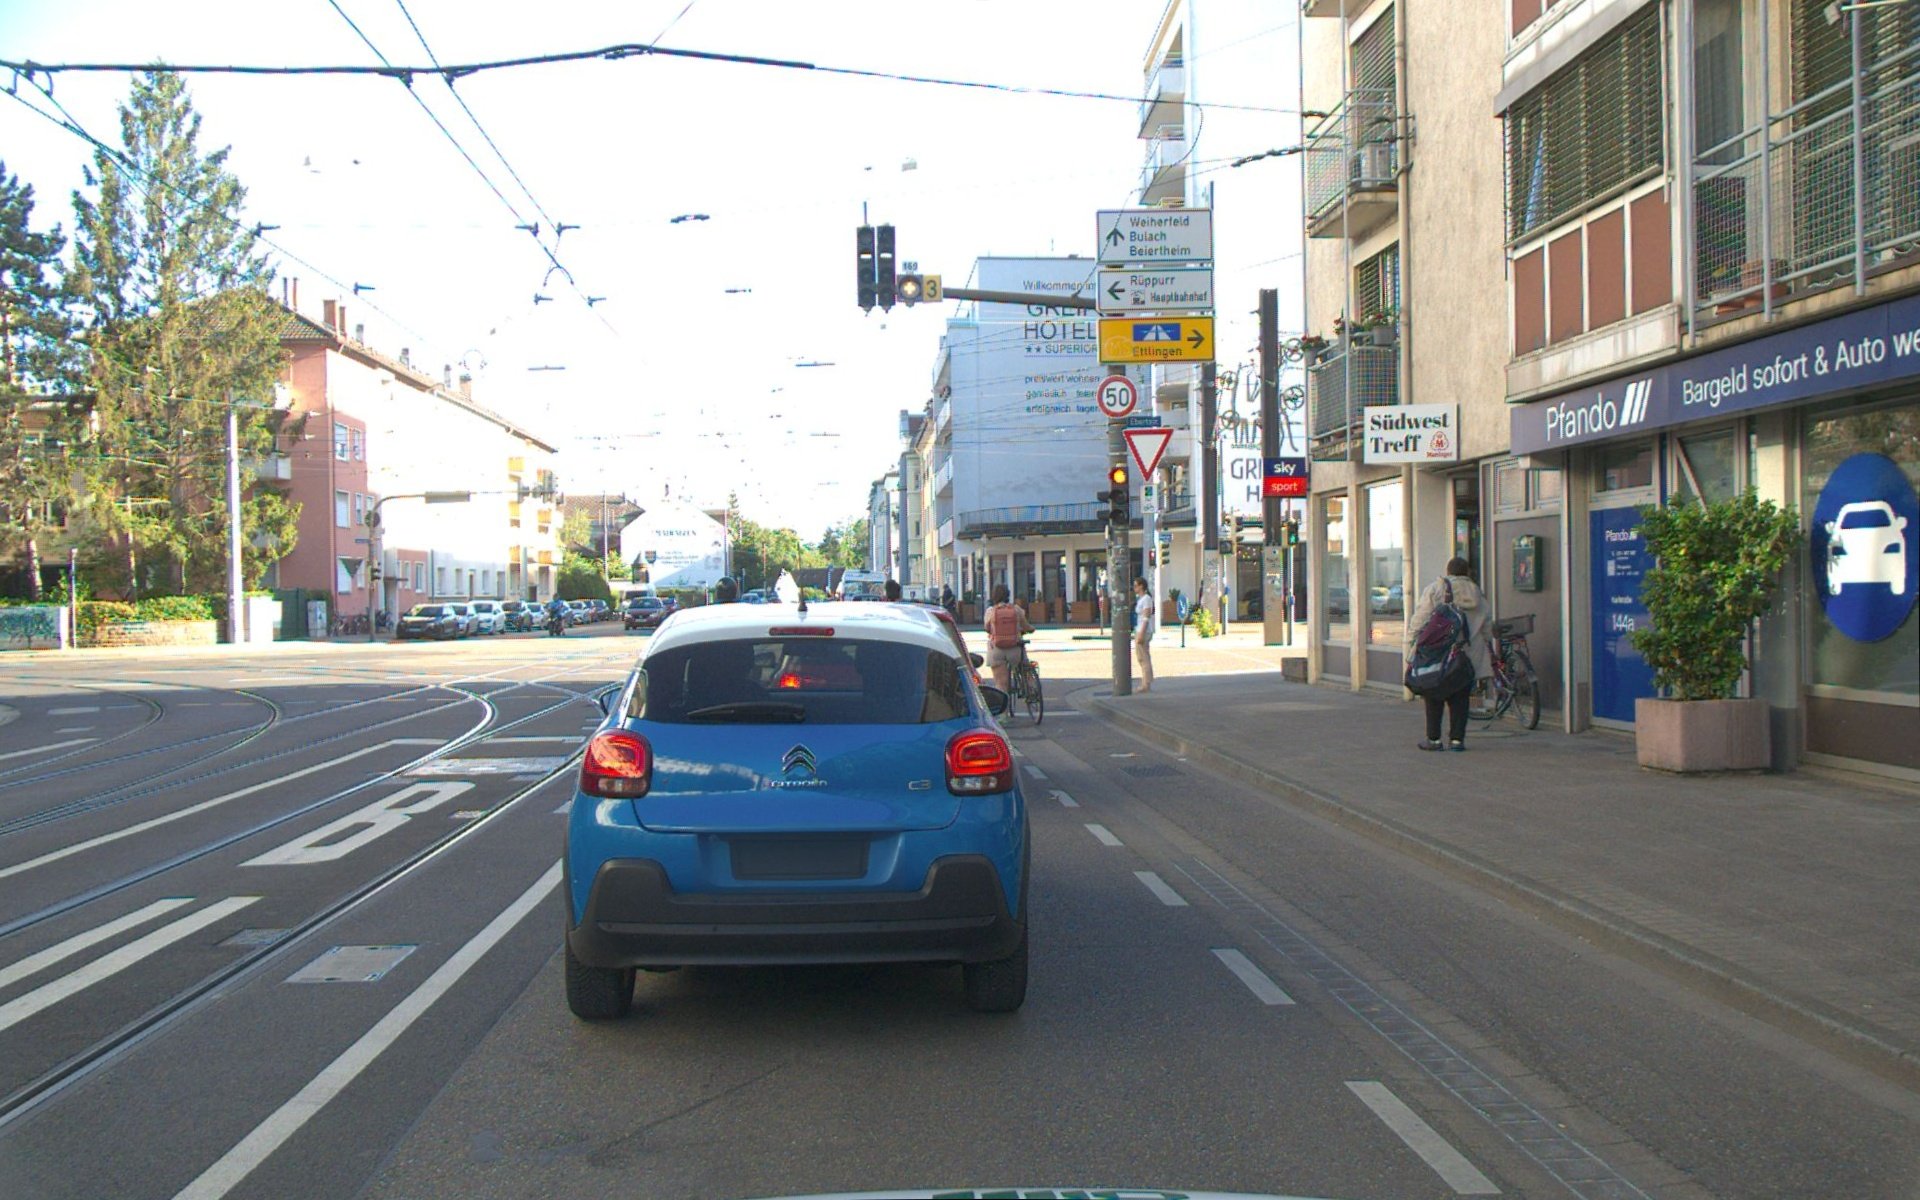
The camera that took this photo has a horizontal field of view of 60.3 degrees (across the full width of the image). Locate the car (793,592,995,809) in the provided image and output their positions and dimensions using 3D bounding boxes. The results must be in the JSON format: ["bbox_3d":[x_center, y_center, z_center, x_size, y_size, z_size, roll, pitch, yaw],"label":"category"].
[{"bbox_3d":[-0.485,0.716,13.098,1.395,1.493,2.923,-1,0,-1],"label":"car"}]

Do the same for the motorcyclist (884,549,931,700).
[{"bbox_3d":[-0.613,0.291,19.584,0.516,1.746,0.717,1,-1,-1],"label":"motorcyclist"}]

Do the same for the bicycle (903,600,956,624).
[{"bbox_3d":[-1.207,0.485,65.878,2.093,0.917,0.366,1,-1,-10],"label":"bicycle"}]

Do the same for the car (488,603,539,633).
[{"bbox_3d":[-23.109,0.914,85.667,1.750,1.524,3.997,1,0,-4],"label":"car"}]

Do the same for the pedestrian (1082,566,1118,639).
[{"bbox_3d":[3.964,0.074,46.920,0.907,2.049,0.759,1,-1,-1],"label":"pedestrian"}]

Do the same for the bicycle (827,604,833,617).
[{"bbox_3d":[-9.708,0.771,123.201,0.342,0.919,1.858,1,0,-2],"label":"bicycle"}]

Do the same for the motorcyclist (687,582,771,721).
[{"bbox_3d":[-2.608,0.574,18.724,0.843,1.531,0.598,1,-1,-1],"label":"motorcyclist"}]

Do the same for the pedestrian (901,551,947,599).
[{"bbox_3d":[-1.603,-1.077,73.502,1.953,2.049,3.999,1,0,-1],"label":"pedestrian"}]

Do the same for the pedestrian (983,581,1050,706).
[{"bbox_3d":[0.679,0.520,20.206,0.761,1.486,0.681,1,-1,-1],"label":"pedestrian"}]

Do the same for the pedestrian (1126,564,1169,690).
[{"bbox_3d":[2.743,0.397,24.251,0.507,1.814,0.595,1,-1,-3],"label":"pedestrian"}]

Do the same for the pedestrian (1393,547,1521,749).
[{"bbox_3d":[4.105,0.389,13.705,0.808,1.620,0.751,1,-1,-1],"label":"pedestrian"}]

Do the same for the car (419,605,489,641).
[{"bbox_3d":[-22.232,1.000,72.799,1.778,1.524,4.299,1,0,-1],"label":"car"}]

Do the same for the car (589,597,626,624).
[{"bbox_3d":[-23.575,0.683,110.837,1.845,1.716,3.997,1,0,-4],"label":"car"}]

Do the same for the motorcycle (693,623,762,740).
[{"bbox_3d":[-2.654,0.902,19.026,0.526,1.240,1.980,1,0,-1],"label":"motorcycle"}]

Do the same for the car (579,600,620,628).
[{"bbox_3d":[-23.035,0.883,105.859,1.944,1.716,3.997,1,0,-4],"label":"car"}]

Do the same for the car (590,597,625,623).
[{"bbox_3d":[-24.734,0.686,116.114,1.797,1.716,3.997,1,0,-4],"label":"car"}]

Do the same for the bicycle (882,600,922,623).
[{"bbox_3d":[-2.434,0.491,69.244,1.751,0.917,0.365,1,-1,34],"label":"bicycle"}]

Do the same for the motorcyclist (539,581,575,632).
[{"bbox_3d":[-16.259,0.257,66.806,1.162,2.049,1.274,-1,0,-4],"label":"motorcyclist"}]

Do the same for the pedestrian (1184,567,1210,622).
[{"bbox_3d":[8.926,-0.193,62.361,0.743,2.049,0.710,1,-1,30],"label":"pedestrian"}]

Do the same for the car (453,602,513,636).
[{"bbox_3d":[-22.671,0.884,78.780,1.751,1.537,4.148,1,0,-2],"label":"car"}]

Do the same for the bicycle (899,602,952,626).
[{"bbox_3d":[-1.402,0.571,67.306,2.093,0.917,0.366,1,-1,-10],"label":"bicycle"}]

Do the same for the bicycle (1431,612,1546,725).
[{"bbox_3d":[5.041,0.631,15.876,0.531,1.016,1.705,1,0,-1],"label":"bicycle"}]

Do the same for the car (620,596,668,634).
[{"bbox_3d":[-14.533,0.692,76.204,1.740,1.695,3.853,1,0,-4],"label":"car"}]

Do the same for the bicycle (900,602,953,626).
[{"bbox_3d":[-1.341,0.574,66.906,2.093,0.917,0.366,1,-1,-10],"label":"bicycle"}]

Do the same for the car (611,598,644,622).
[{"bbox_3d":[-24.288,0.714,120.898,1.809,1.716,3.871,1,0,-4],"label":"car"}]

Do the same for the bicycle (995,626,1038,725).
[{"bbox_3d":[0.689,0.905,20.495,0.419,1.142,1.998,1,0,-1],"label":"bicycle"}]

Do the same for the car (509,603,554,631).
[{"bbox_3d":[-23.724,0.920,91.703,1.699,1.524,3.996,1,0,-5],"label":"car"}]

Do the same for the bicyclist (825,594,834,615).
[{"bbox_3d":[-9.694,0.349,122.821,0.549,1.503,0.748,1,-1,0],"label":"bicyclist"}]

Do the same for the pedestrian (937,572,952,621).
[{"bbox_3d":[-0.648,-0.153,70.370,0.565,2.049,0.625,1,-1,-3],"label":"pedestrian"}]

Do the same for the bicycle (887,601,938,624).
[{"bbox_3d":[-1.962,0.507,68.251,2.093,0.917,0.366,1,-1,-10],"label":"bicycle"}]

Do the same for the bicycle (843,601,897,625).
[{"bbox_3d":[-3.594,0.532,66.086,2.093,0.917,0.366,1,-1,-10],"label":"bicycle"}]

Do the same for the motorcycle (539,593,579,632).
[{"bbox_3d":[-16.216,0.492,66.932,0.905,1.512,3.723,1,0,-4],"label":"motorcycle"}]

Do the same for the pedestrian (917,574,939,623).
[{"bbox_3d":[-1.338,-0.074,69.174,0.625,2.049,0.715,1,-1,-37],"label":"pedestrian"}]

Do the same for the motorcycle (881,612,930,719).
[{"bbox_3d":[-0.621,0.733,19.394,0.515,1.159,2.289,1,0,-1],"label":"motorcycle"}]

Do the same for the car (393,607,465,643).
[{"bbox_3d":[-21.920,1.012,68.460,1.757,1.446,3.994,1,0,-2],"label":"car"}]

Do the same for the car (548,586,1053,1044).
[{"bbox_3d":[-0.542,0.709,7.152,1.620,1.469,3.522,1,0,-1],"label":"car"}]
